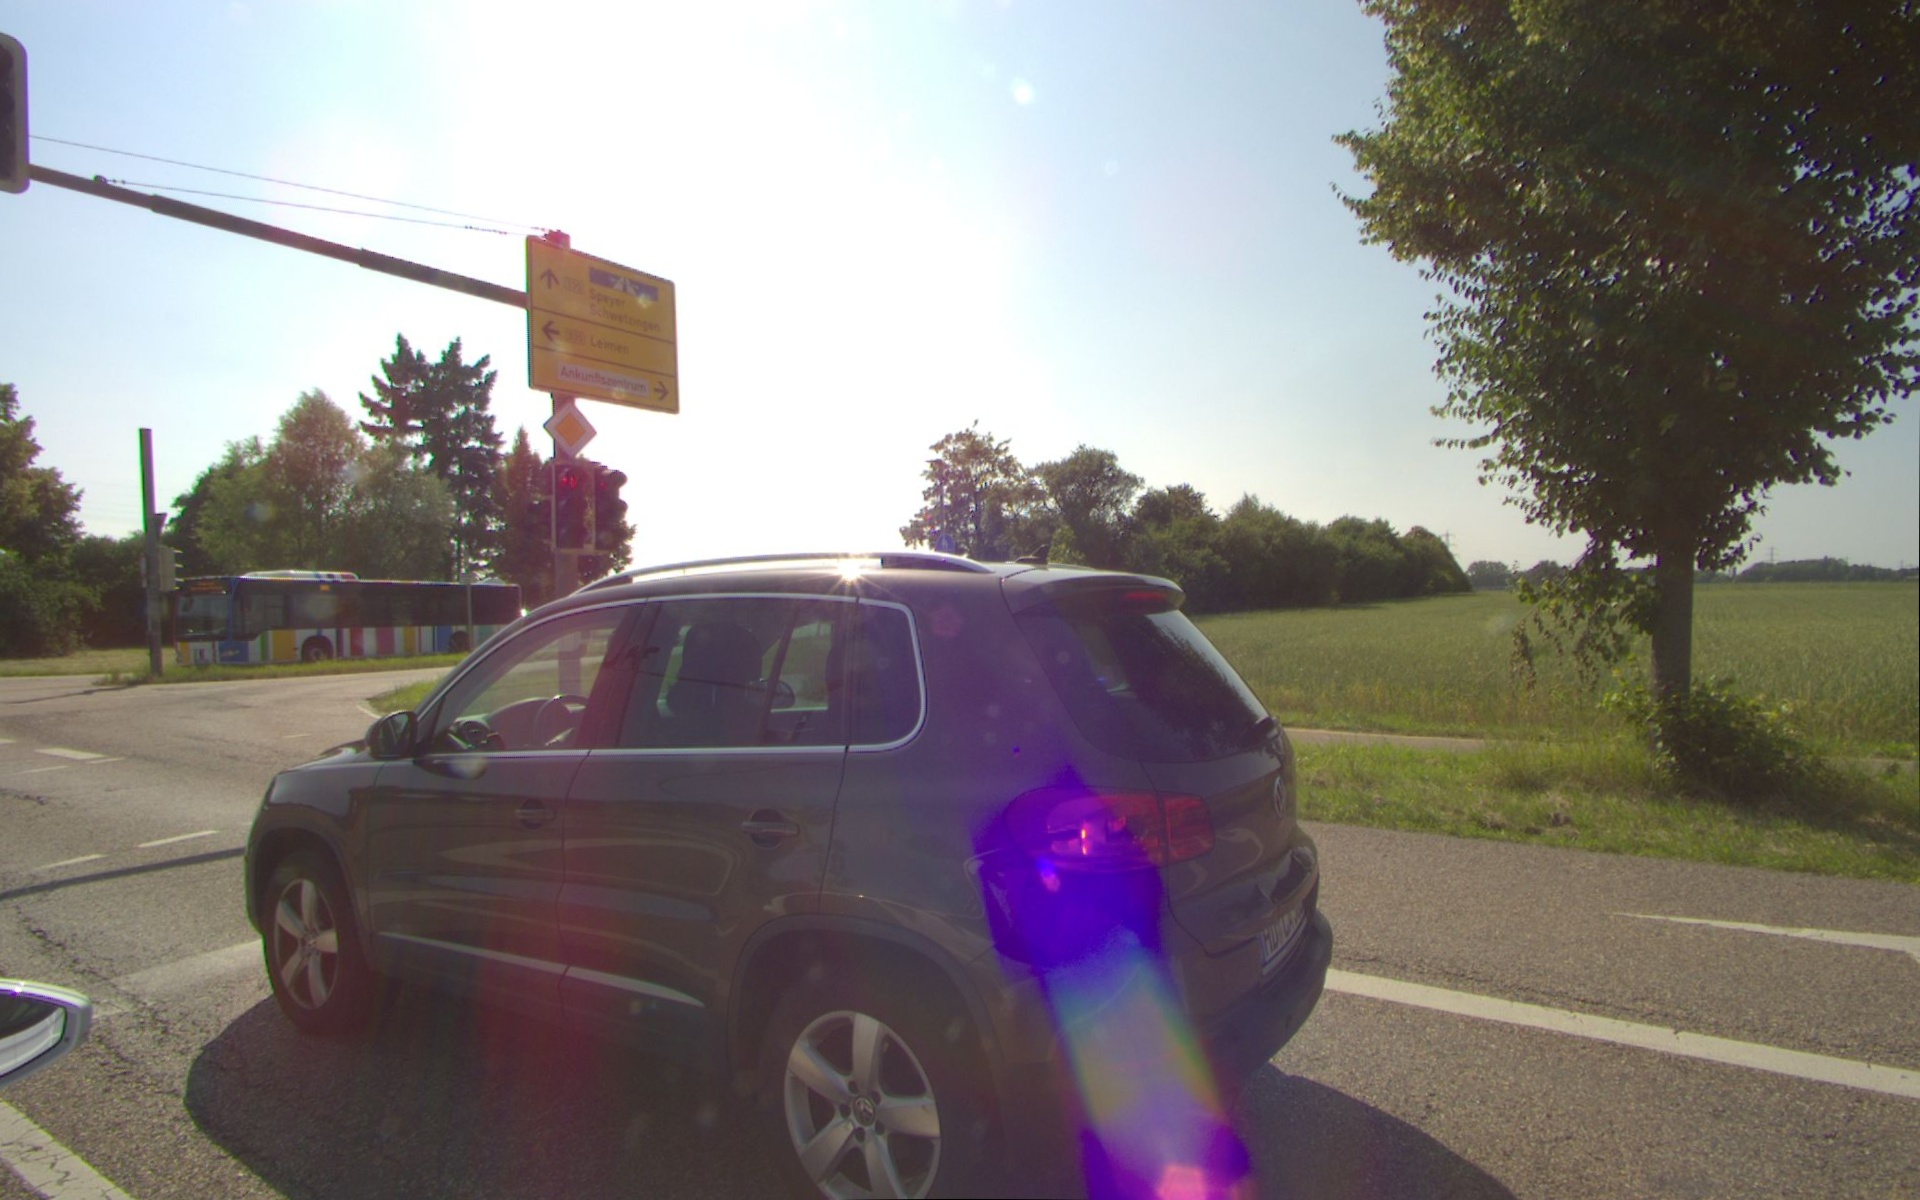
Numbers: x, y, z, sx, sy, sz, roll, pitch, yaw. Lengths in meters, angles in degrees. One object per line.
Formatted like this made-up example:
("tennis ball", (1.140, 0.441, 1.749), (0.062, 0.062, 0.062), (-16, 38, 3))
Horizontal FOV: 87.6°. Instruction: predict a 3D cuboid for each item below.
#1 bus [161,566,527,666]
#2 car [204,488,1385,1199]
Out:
("bus", (-20.674, 0.417, 35.178), (2.889, 2.916, 11.955), (-1, 0, 17))
("car", (-0.788, 0.691, 3.624), (4.086, 1.677, 1.753), (-1, -2, 32))
